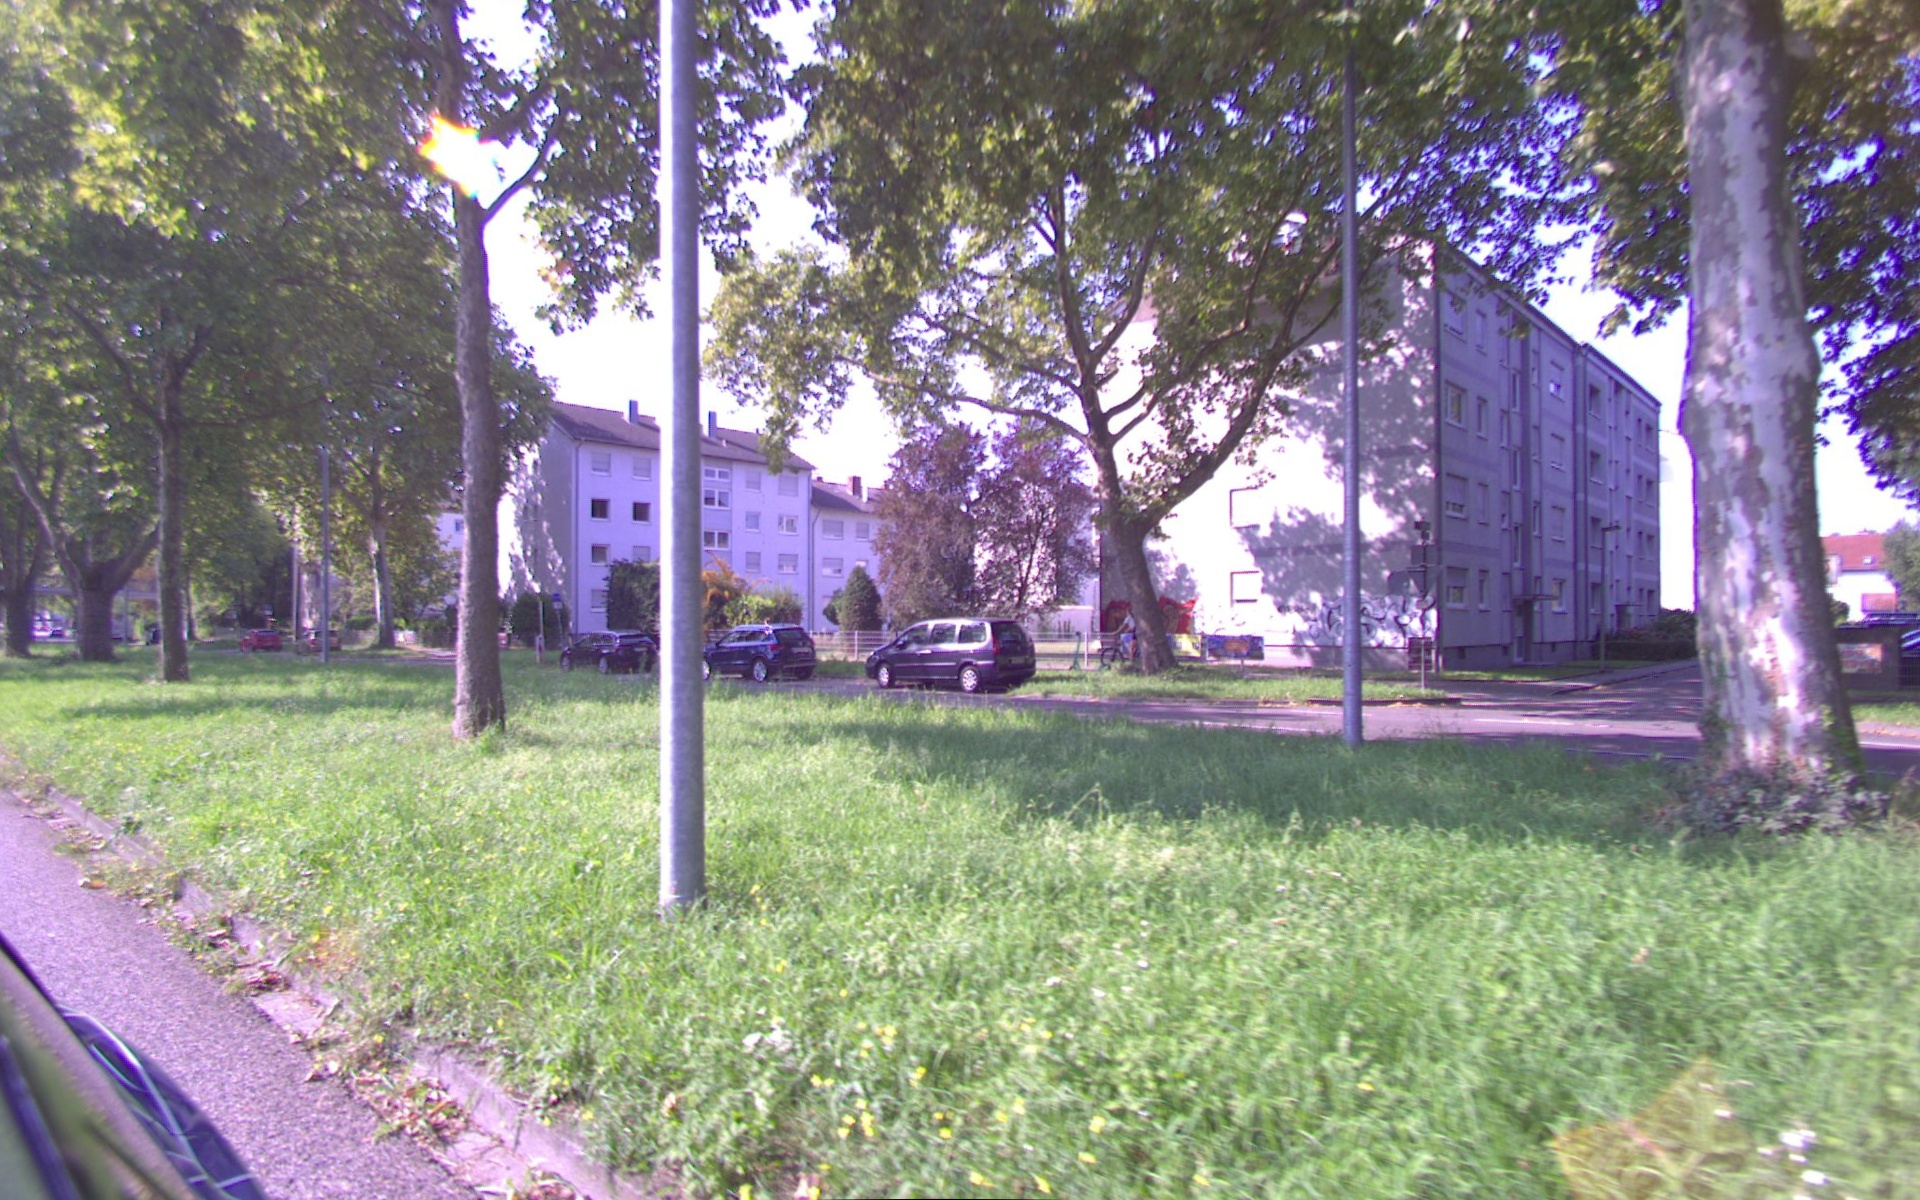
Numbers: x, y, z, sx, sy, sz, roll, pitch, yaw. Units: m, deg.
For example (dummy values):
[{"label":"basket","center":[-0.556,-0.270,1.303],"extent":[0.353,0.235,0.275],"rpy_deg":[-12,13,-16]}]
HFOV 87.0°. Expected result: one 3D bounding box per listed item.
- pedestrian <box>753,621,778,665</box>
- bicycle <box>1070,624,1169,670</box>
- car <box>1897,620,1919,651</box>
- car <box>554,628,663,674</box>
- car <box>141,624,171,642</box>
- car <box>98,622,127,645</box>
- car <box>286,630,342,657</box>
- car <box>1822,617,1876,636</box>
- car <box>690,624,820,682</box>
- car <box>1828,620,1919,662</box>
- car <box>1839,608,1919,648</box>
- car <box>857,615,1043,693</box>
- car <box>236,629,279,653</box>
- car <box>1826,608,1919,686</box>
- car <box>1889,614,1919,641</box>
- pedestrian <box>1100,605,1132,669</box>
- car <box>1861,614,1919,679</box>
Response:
[{"label":"pedestrian","center":[-7.506,1.646,39.058],"extent":[0.734,1.658,0.640],"rpy_deg":[-2,-2,40]},{"label":"bicycle","center":[4.313,1.254,27.553],"extent":[2.757,1.208,0.539],"rpy_deg":[-1,-1,38]},{"label":"car","center":[54.952,2.001,56.399],"extent":[4.001,1.735,1.674],"rpy_deg":[0,0,44]},{"label":"car","center":[-12.450,1.764,35.693],"extent":[4.539,1.519,1.681],"rpy_deg":[-2,-2,42]},{"label":"car","center":[-71.493,2.954,89.981],"extent":[3.863,1.544,1.506],"rpy_deg":[-1,-2,43]},{"label":"car","center":[-95.999,3.749,114.613],"extent":[2.181,2.498,6.066],"rpy_deg":[0,-1,-43]},{"label":"car","center":[-36.800,2.447,57.592],"extent":[4.064,1.441,1.782],"rpy_deg":[-2,-2,43]},{"label":"car","center":[89.059,2.647,101.441],"extent":[3.998,1.785,1.777],"rpy_deg":[-1,-1,41]},{"label":"car","center":[-6.028,1.495,29.487],"extent":[3.999,1.580,1.681],"rpy_deg":[-2,-2,42]},{"label":"car","center":[36.013,1.547,38.786],"extent":[1.676,1.579,4.004],"rpy_deg":[0,-1,-43]},{"label":"car","center":[38.494,1.122,41.144],"extent":[1.676,1.579,4.004],"rpy_deg":[0,-1,-43]},{"label":"car","center":[-0.328,1.257,24.751],"extent":[4.658,1.745,1.681],"rpy_deg":[-1,-1,42]},{"label":"car","center":[-45.462,2.609,65.457],"extent":[4.065,1.462,1.521],"rpy_deg":[-2,-1,43]},{"label":"car","center":[22.539,1.053,22.832],"extent":[1.676,1.739,4.392],"rpy_deg":[0,-1,-43]},{"label":"car","center":[64.078,1.850,66.856],"extent":[4.001,1.735,1.674],"rpy_deg":[0,0,44]},{"label":"pedestrian","center":[4.264,1.005,27.618],"extent":[0.657,1.703,0.537],"rpy_deg":[-1,-2,38]},{"label":"car","center":[27.225,1.253,27.454],"extent":[1.676,1.740,4.004],"rpy_deg":[0,-1,-43]}]
